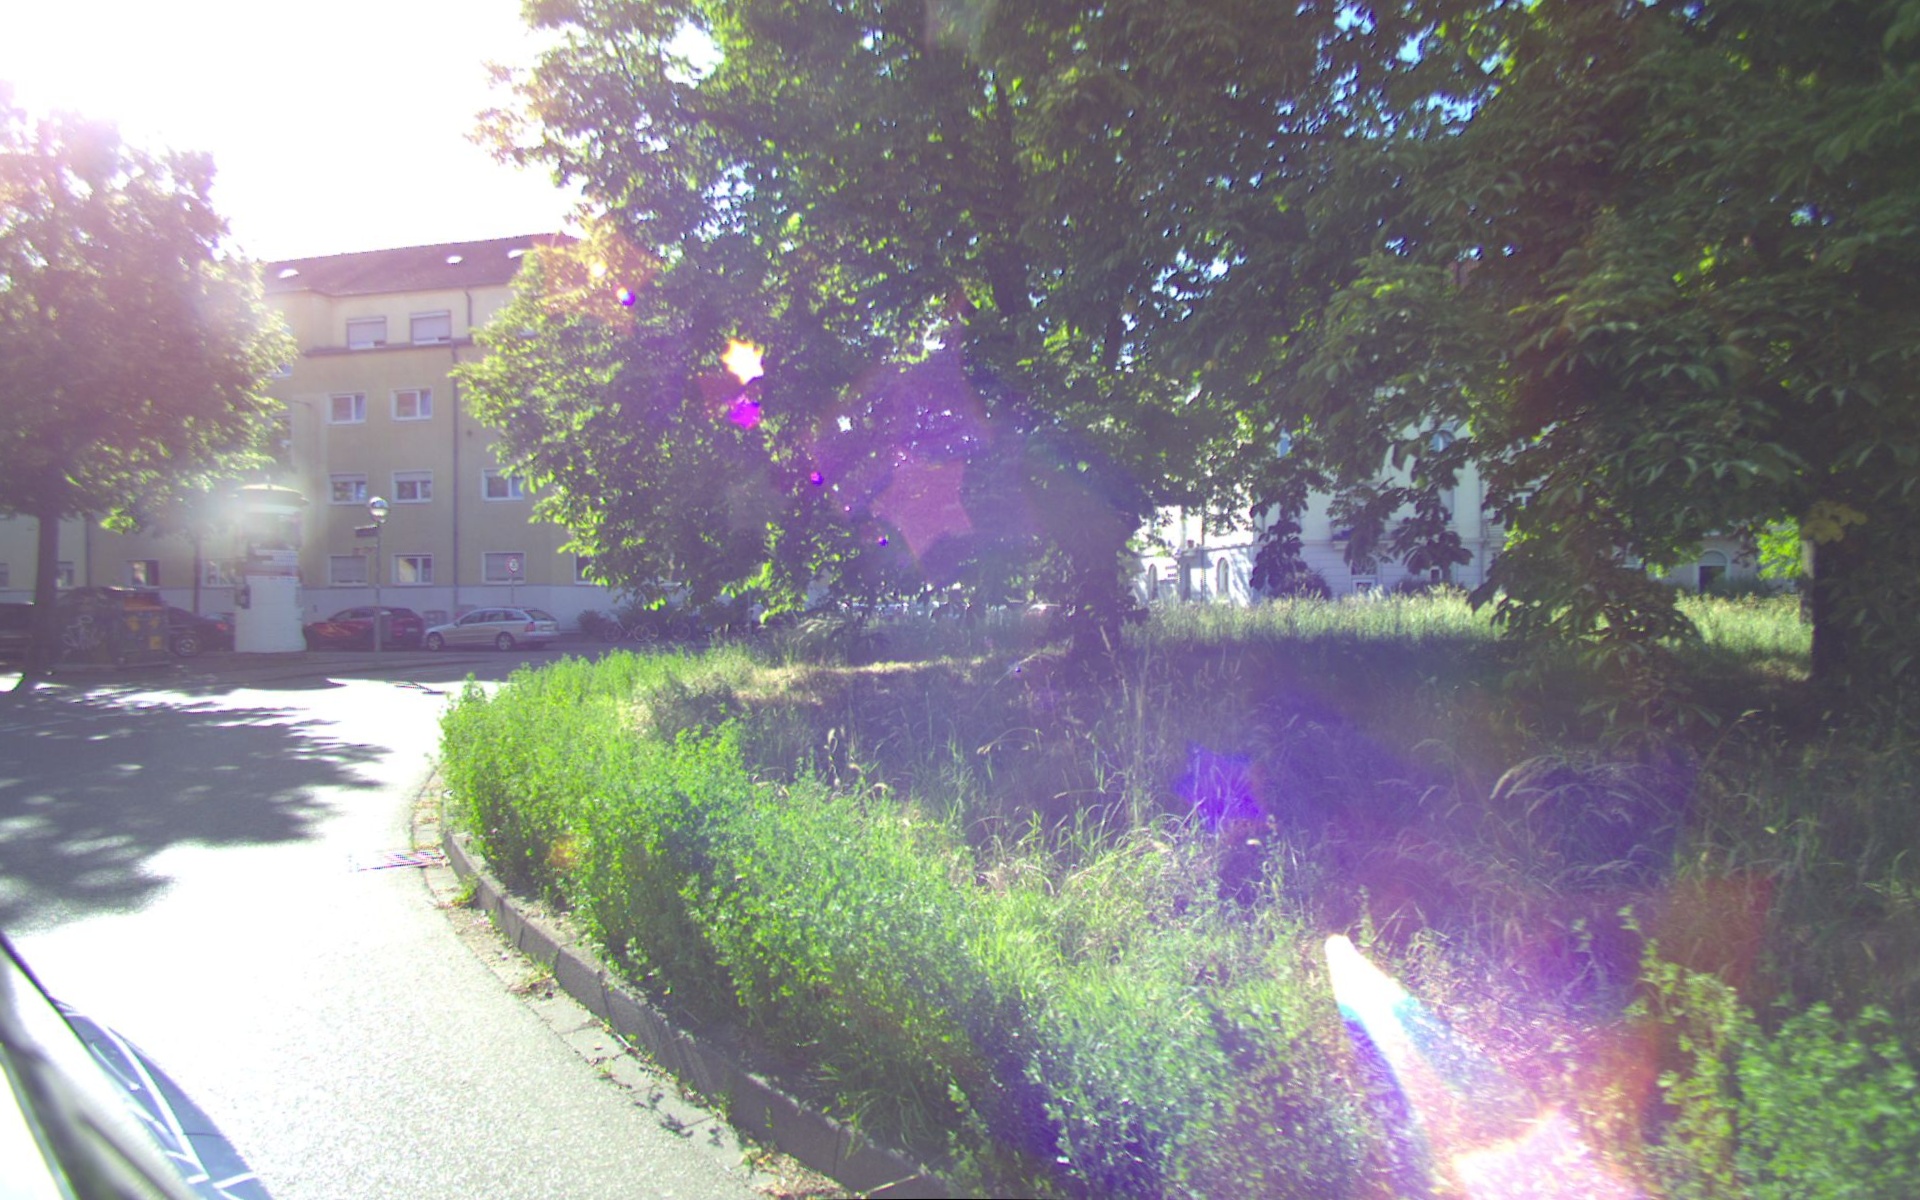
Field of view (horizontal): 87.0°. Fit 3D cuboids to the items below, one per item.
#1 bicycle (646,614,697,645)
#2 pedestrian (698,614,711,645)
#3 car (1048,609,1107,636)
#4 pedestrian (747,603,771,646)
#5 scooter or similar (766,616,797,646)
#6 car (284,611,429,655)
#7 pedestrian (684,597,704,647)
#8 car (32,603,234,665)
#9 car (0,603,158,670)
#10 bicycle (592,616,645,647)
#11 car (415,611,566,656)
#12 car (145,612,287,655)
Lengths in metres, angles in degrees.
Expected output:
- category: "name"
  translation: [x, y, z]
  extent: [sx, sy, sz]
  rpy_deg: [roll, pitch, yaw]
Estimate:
- category: "bicycle"
  translation: [-10.553, 1.073, 37.028]
  extent: [1.770, 1.116, 0.501]
  rpy_deg: [0, -1, -11]
- category: "pedestrian"
  translation: [-9.170, 1.057, 36.295]
  extent: [0.400, 1.047, 0.377]
  rpy_deg: [-1, 3, -10]
- category: "car"
  translation: [6.386, 1.208, 55.396]
  extent: [1.769, 1.423, 4.012]
  rpy_deg: [0, -1, -16]
- category: "pedestrian"
  translation: [-7.209, 0.872, 36.248]
  extent: [0.685, 1.535, 0.652]
  rpy_deg: [0, -1, -29]
- category: "scooter or similar"
  translation: [-6.460, 1.109, 36.604]
  extent: [0.883, 1.031, 0.920]
  rpy_deg: [0, 0, -28]
- category: "car"
  translation: [-20.632, 1.116, 34.653]
  extent: [4.344, 1.450, 1.728]
  rpy_deg: [-1, -1, 14]
- category: "pedestrian"
  translation: [-9.392, 0.776, 35.735]
  extent: [0.599, 1.705, 0.555]
  rpy_deg: [-1, 3, -10]
- category: "car"
  translation: [-21.229, 0.830, 26.193]
  extent: [3.935, 1.484, 1.763]
  rpy_deg: [0, -1, -37]
- category: "car"
  translation: [-21.041, 0.816, 23.314]
  extent: [3.934, 1.484, 1.763]
  rpy_deg: [0, -1, -36]
- category: "bicycle"
  translation: [-12.379, 1.142, 36.666]
  extent: [1.776, 1.116, 0.499]
  rpy_deg: [-1, -1, 4]
- category: "car"
  translation: [-15.479, 1.100, 33.422]
  extent: [4.446, 1.422, 1.725]
  rpy_deg: [-1, -1, 14]
- category: "car"
  translation: [-26.492, 1.189, 36.081]
  extent: [4.344, 1.450, 1.728]
  rpy_deg: [-1, -1, 14]
